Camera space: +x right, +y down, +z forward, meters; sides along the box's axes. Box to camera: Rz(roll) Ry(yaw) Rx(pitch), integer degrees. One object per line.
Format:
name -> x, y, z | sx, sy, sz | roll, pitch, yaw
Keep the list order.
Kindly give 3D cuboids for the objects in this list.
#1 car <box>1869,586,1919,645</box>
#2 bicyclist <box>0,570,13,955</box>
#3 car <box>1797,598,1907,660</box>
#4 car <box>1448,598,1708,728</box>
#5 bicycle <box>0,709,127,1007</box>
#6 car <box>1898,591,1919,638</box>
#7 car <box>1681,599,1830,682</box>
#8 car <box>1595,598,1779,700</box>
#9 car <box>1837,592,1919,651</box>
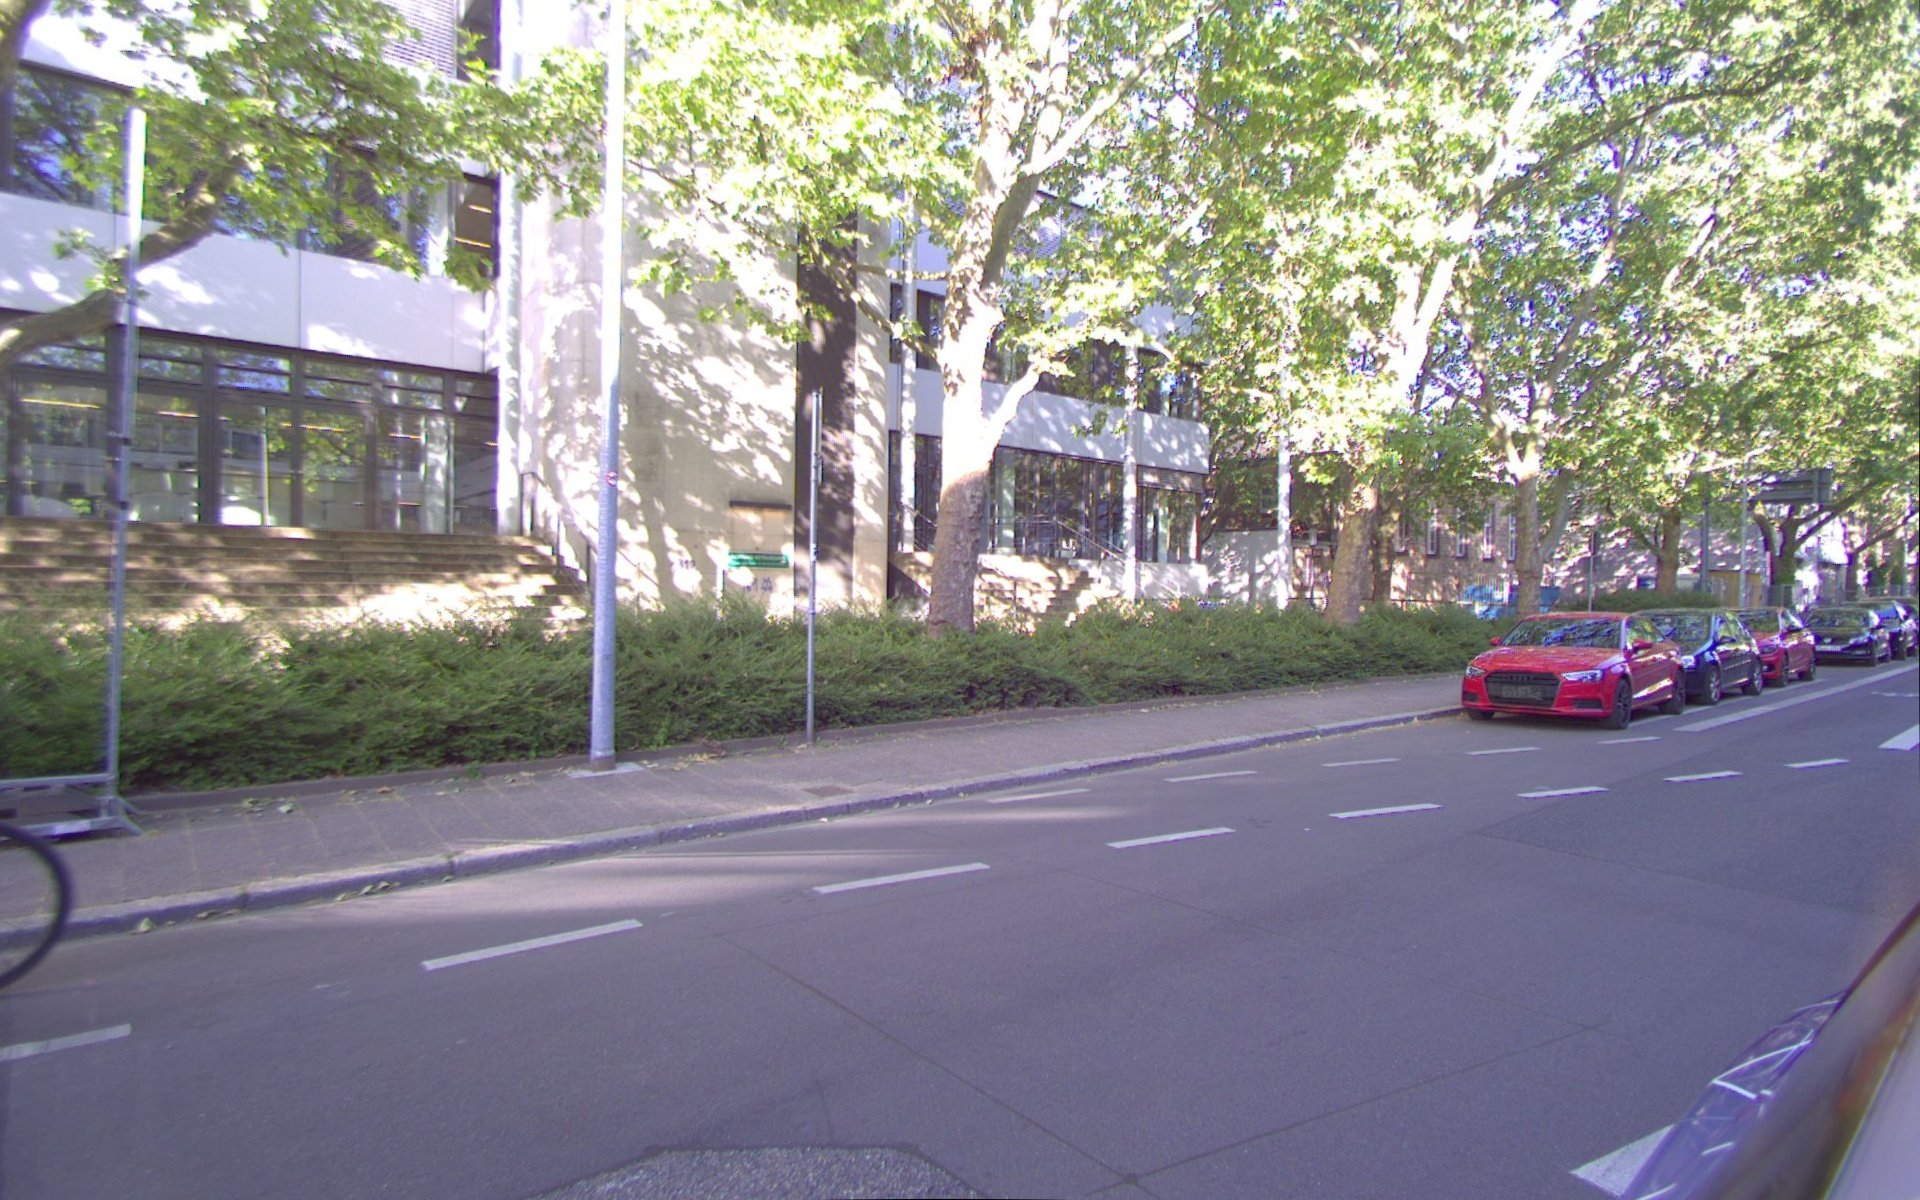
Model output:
car -> 30.953, 0.473, 32.878 | 3.777, 1.828, 1.634 | 0, -1, -41
bicyclist -> -3.993, 0.605, 3.566 | 0.915, 1.420, 0.601 | 0, -1, -41
car -> 22.902, 0.695, 25.953 | 3.674, 1.483, 1.634 | 0, -1, -41
car -> 8.334, 0.722, 13.516 | 4.053, 1.483, 1.802 | 0, -1, -41
bicycle -> -4.072, 0.963, 3.484 | 1.848, 0.997, 0.601 | 0, -1, -41
car -> 35.950, 0.528, 37.260 | 3.777, 1.675, 1.634 | 0, -1, -41
car -> 15.685, 0.723, 19.901 | 3.674, 1.483, 1.634 | 0, -1, -41
car -> 11.951, 0.717, 16.564 | 3.674, 1.483, 1.634 | 0, -1, -41
car -> 26.592, 0.582, 29.024 | 3.777, 1.607, 1.634 | 0, -1, -41
